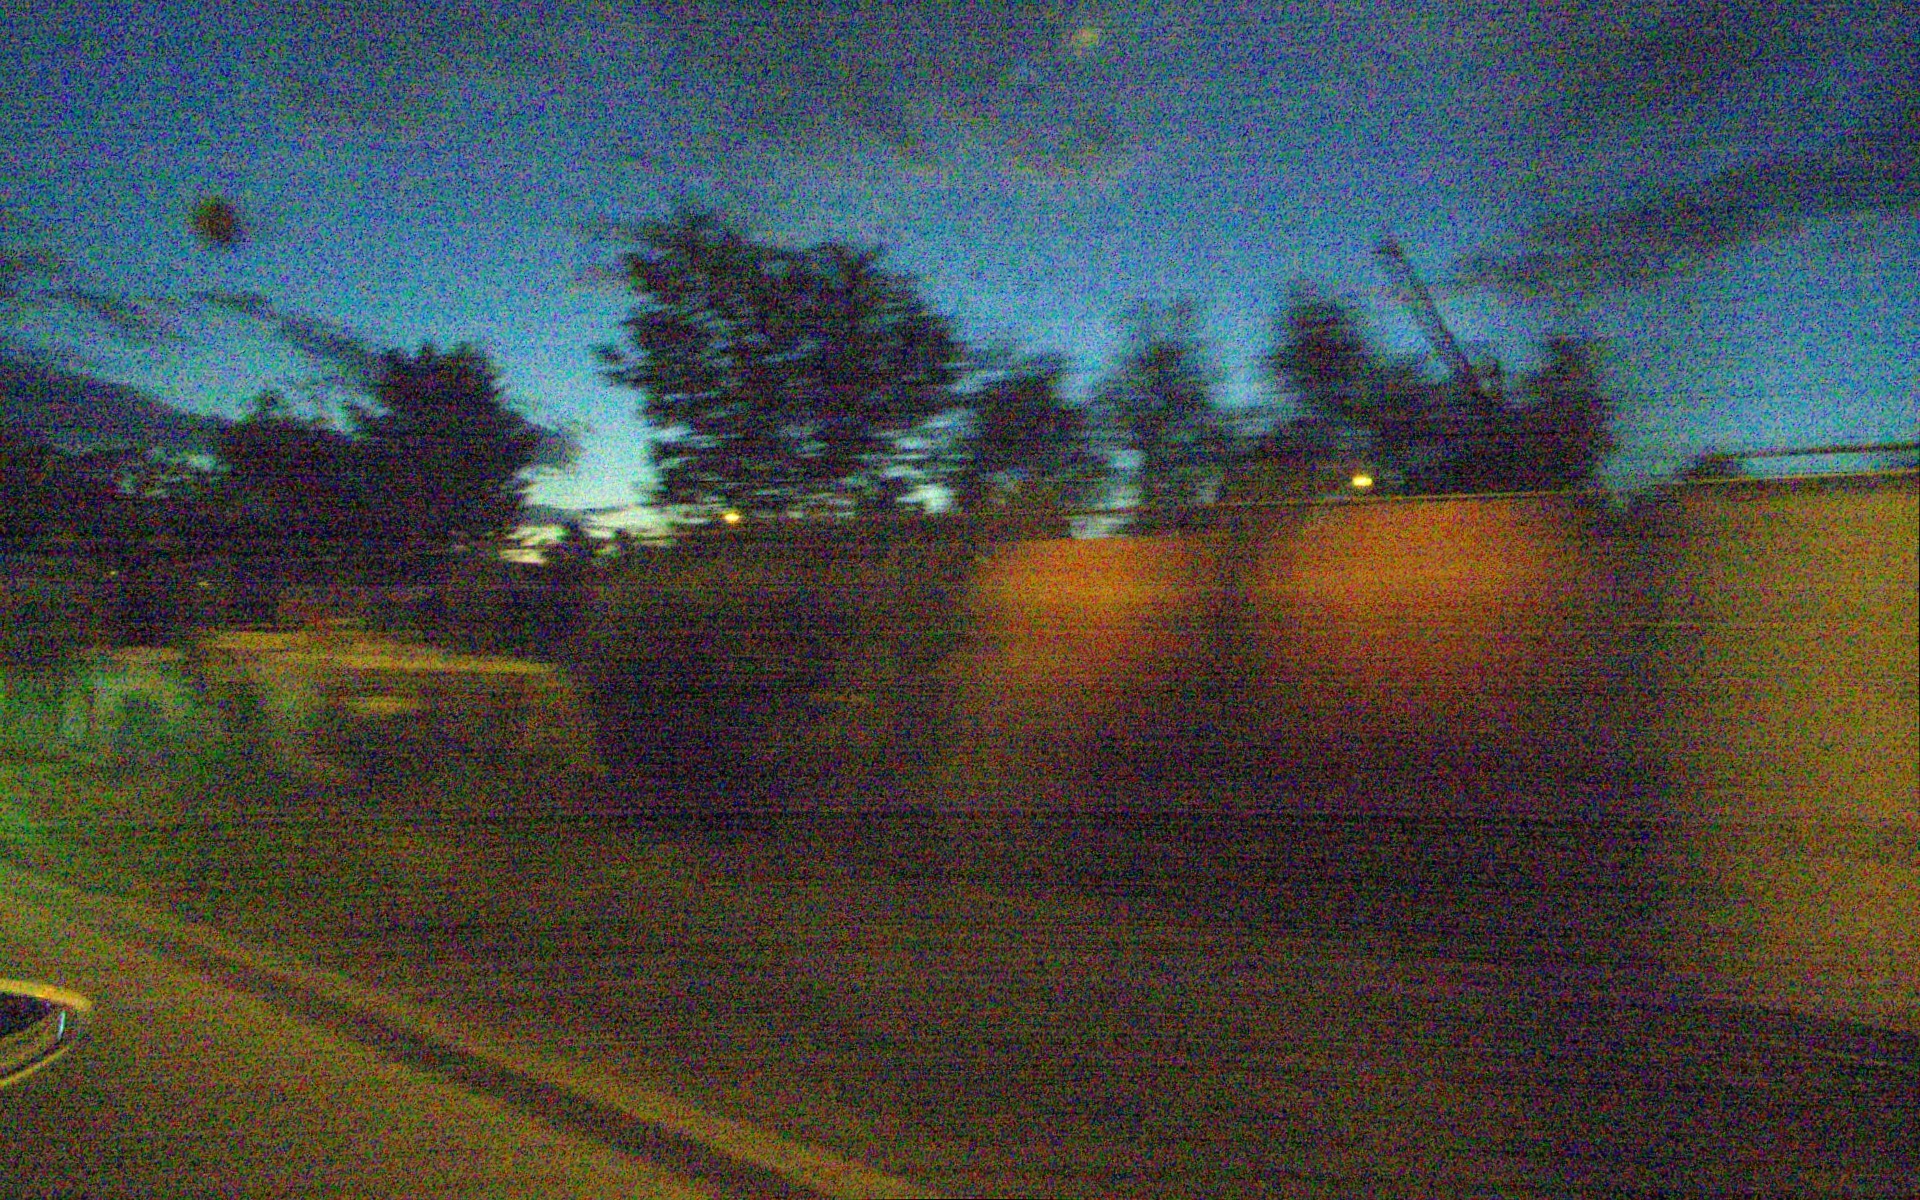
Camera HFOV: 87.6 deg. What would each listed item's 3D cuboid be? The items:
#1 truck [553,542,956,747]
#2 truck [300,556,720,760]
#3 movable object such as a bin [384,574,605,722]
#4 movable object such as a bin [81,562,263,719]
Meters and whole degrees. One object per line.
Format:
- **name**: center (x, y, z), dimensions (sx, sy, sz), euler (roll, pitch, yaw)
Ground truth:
- **truck**: center (-3.644, 0.705, 16.626), dimensions (7.218, 2.782, 2.179), euler (-1, -3, 36)
- **truck**: center (-6.966, 0.779, 15.004), dimensions (7.214, 2.453, 2.180), euler (0, -3, 34)
- **movable object such as a bin**: center (-9.516, 0.955, 20.492), dimensions (3.807, 2.758, 2.226), euler (0, -3, 30)
- **movable object such as a bin**: center (-12.929, 0.660, 16.489), dimensions (1.588, 2.413, 1.682), euler (1, -3, 20)
